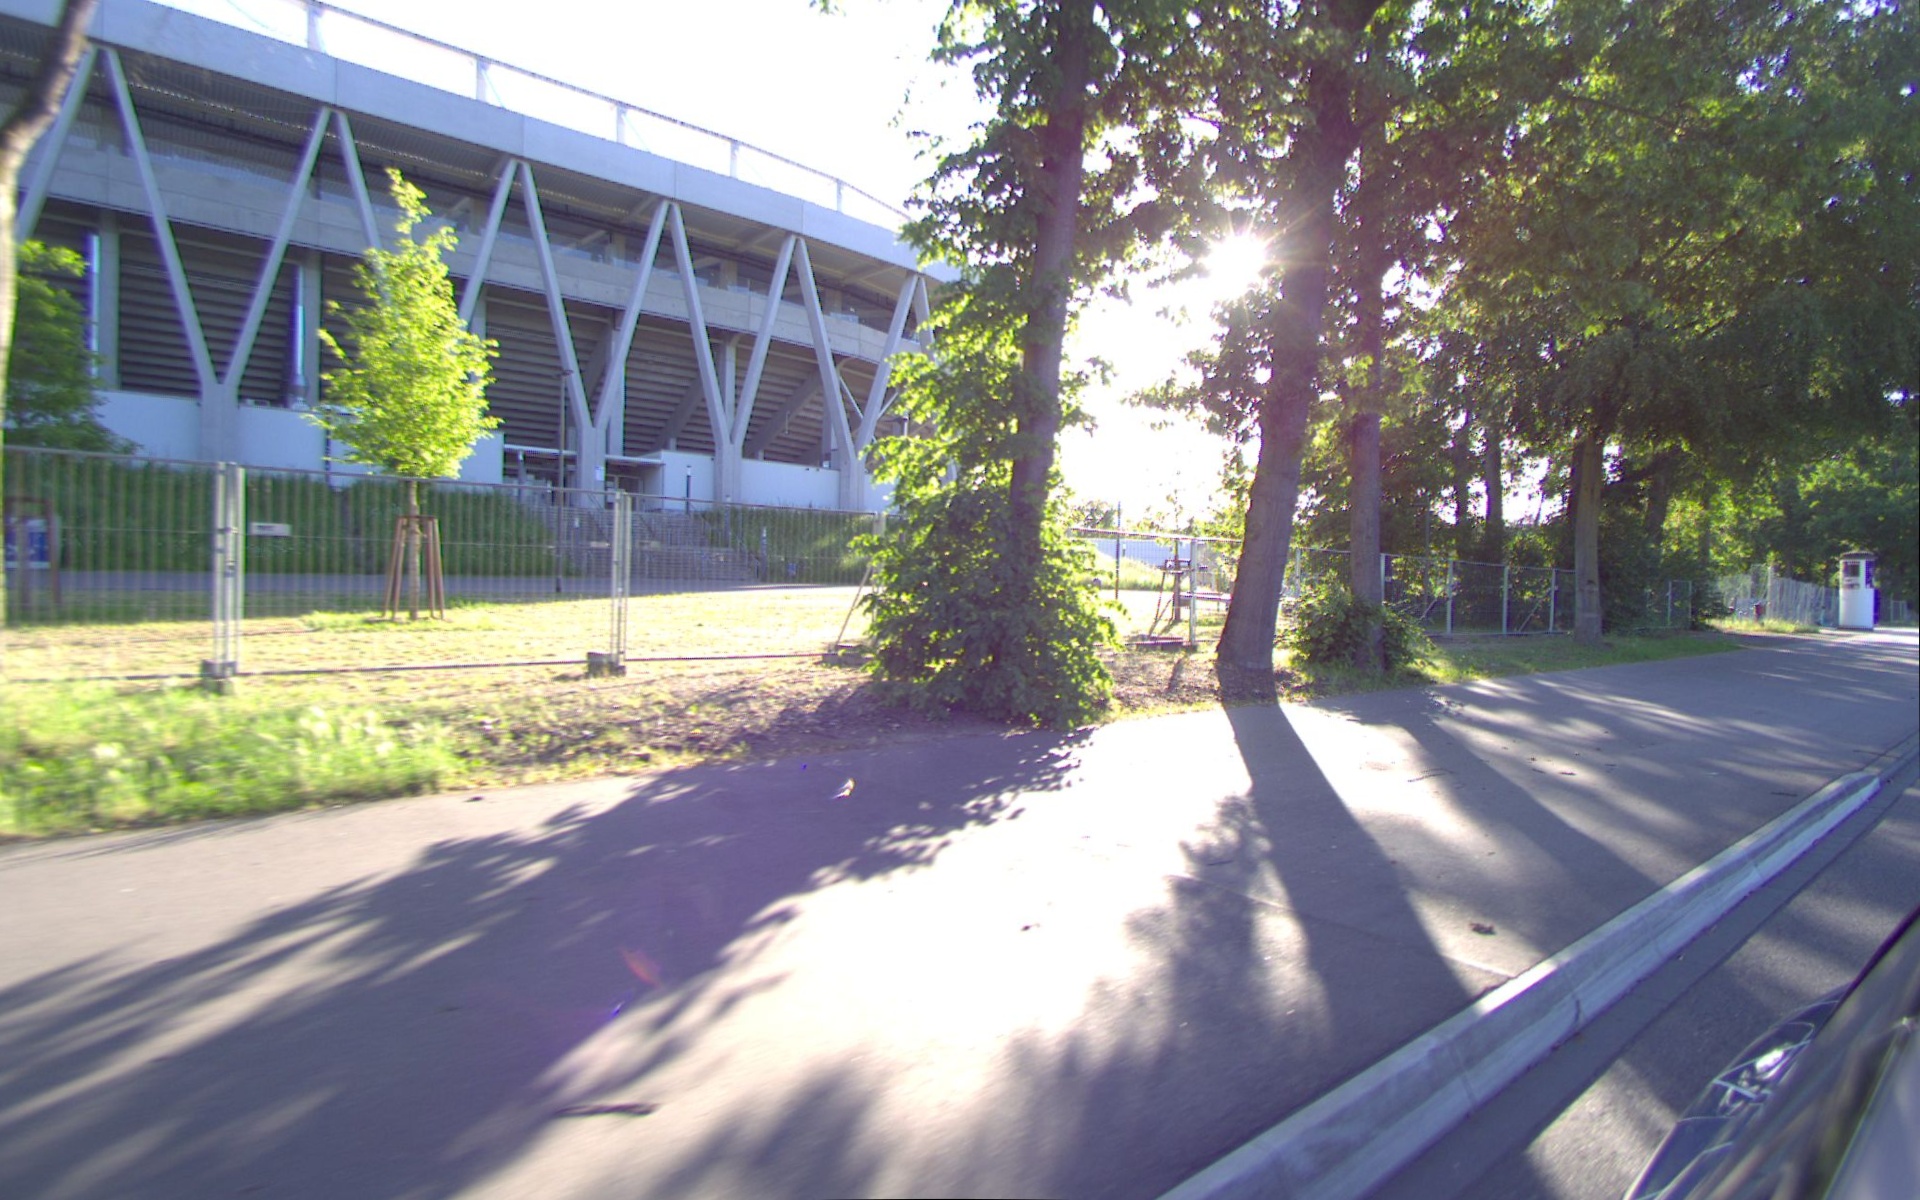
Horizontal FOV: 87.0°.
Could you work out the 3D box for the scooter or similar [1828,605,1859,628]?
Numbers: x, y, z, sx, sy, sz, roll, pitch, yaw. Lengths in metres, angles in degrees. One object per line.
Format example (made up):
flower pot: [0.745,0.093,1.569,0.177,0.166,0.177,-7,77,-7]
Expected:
scooter or similar: [51.123,0.945,58.562,1.282,1.253,0.334,2,1,14]
